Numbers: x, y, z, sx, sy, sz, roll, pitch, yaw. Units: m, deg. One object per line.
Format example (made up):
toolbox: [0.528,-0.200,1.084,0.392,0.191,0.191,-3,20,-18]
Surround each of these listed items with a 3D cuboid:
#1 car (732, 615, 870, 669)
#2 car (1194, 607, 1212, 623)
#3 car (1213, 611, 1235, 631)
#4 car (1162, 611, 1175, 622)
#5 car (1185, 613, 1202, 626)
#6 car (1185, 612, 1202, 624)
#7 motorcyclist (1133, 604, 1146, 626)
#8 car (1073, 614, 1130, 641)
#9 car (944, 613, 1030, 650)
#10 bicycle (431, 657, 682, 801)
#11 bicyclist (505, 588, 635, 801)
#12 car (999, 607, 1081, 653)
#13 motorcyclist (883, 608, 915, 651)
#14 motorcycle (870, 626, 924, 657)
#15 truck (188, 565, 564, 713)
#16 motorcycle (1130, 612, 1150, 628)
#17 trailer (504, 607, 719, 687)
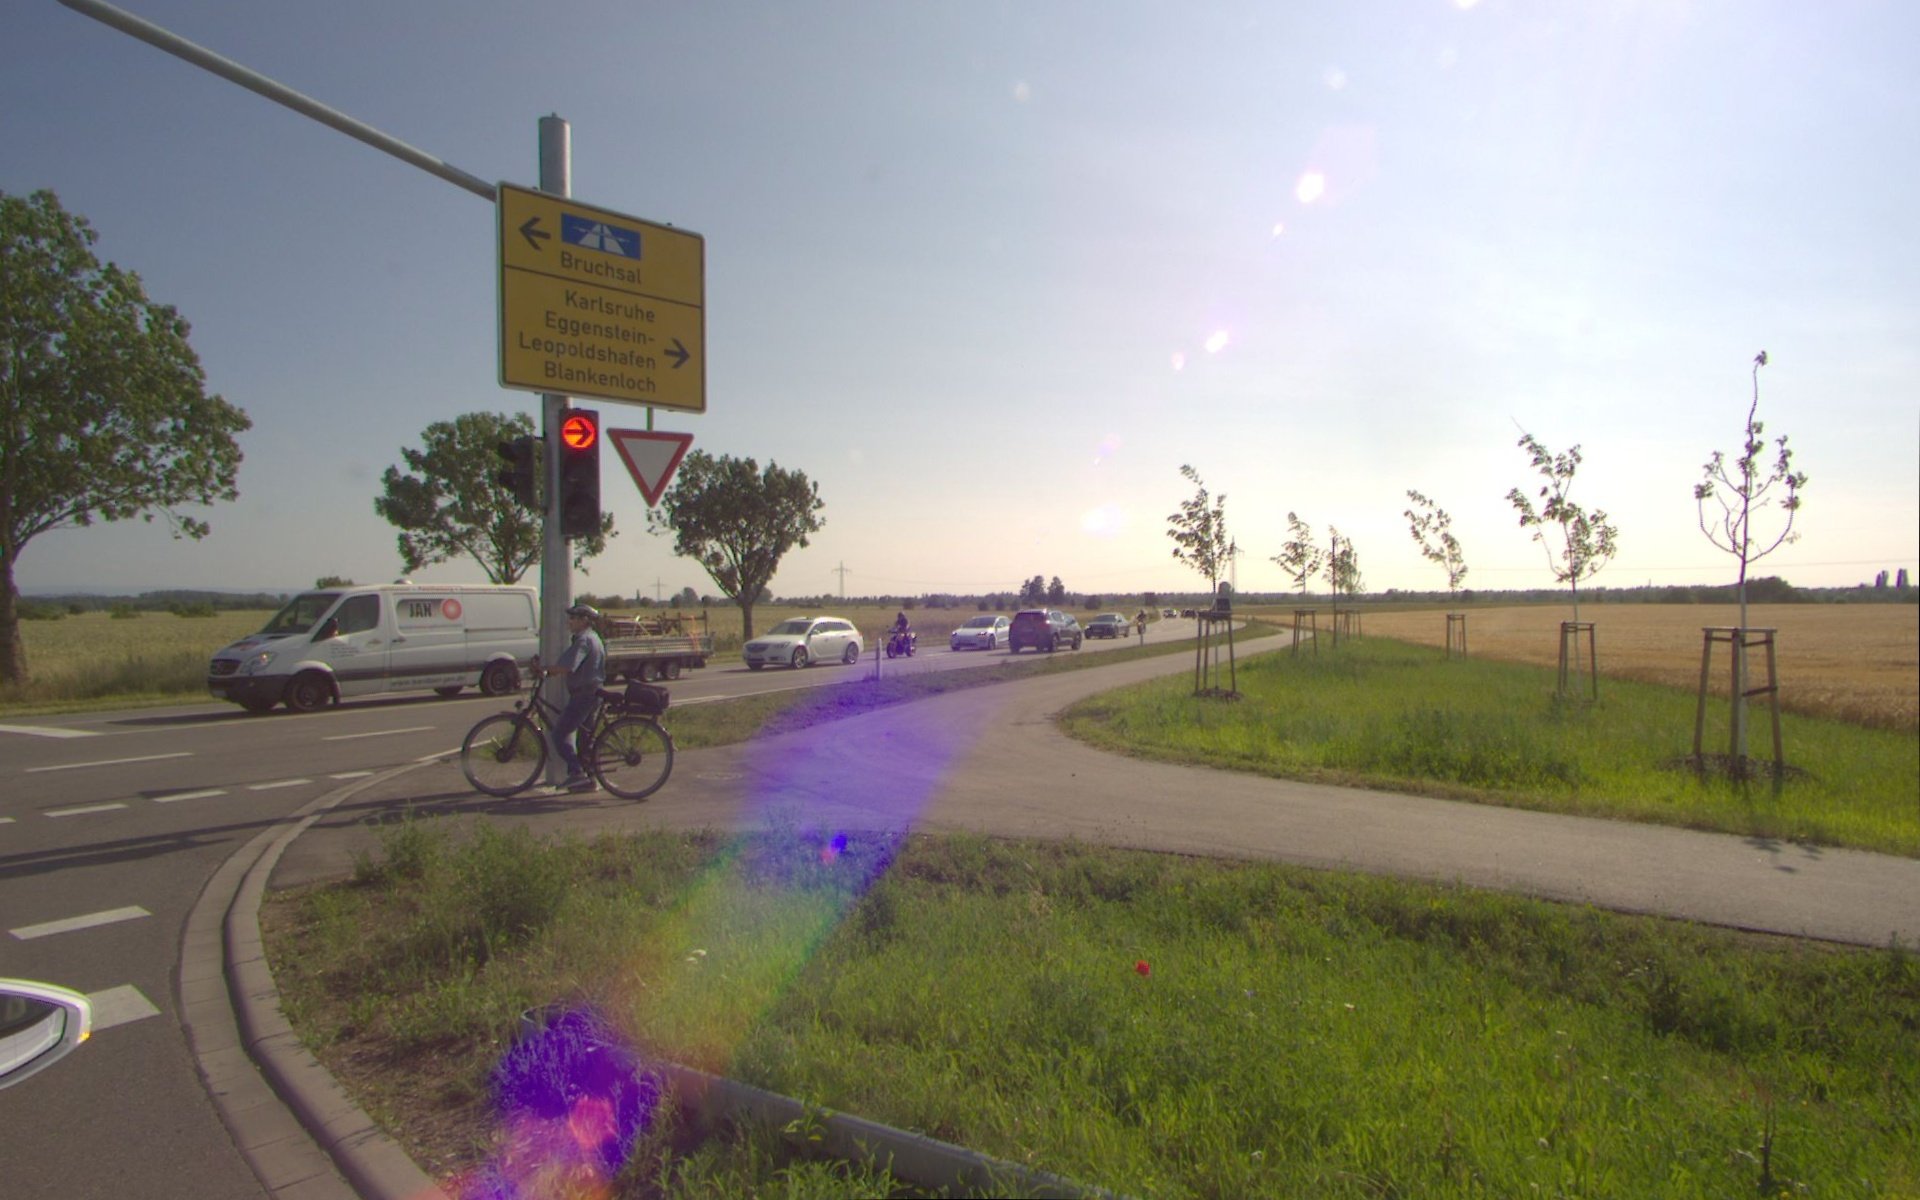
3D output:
car: [-4.808,1.248,30.914,1.738,1.511,4.689,-1,-1,28]
car: [30.430,1.871,125.550,1.780,1.907,4.001,0,-2,8]
car: [27.396,2.205,104.048,2.023,2.039,3.999,0,-2,13]
car: [34.365,2.723,164.990,1.855,1.646,3.999,-3,-2,11]
car: [33.674,2.819,144.439,1.899,1.822,3.886,0,-2,8]
car: [33.775,2.608,144.862,1.899,1.715,3.887,0,-2,8]
motorcyclist: [12.452,1.021,69.480,0.669,1.515,0.844,-1,0,25]
car: [8.337,1.582,58.590,1.866,1.455,4.779,-1,-1,27]
car: [1.216,1.330,43.523,1.869,1.486,4.253,-1,0,31]
bicycle: [-3.480,1.126,8.806,1.910,1.165,0.681,3,-2,-13]
bicyclist: [-3.408,0.822,8.825,0.901,1.787,0.619,3,-2,-13]
car: [3.226,1.165,39.614,1.947,1.703,4.094,-1,-1,25]
motorcyclist: [-2.227,1.069,36.600,0.670,1.535,1.176,-1,0,27]
motorcycle: [-2.270,1.497,36.550,0.885,1.057,2.419,-1,0,26]
truck: [-11.097,0.695,19.716,2.041,2.436,6.168,-1,-1,31]
motorcycle: [12.502,1.405,69.588,0.859,1.087,1.962,-1,-1,25]
trailer: [-8.376,1.072,24.603,1.950,1.760,4.992,-1,-1,27]
